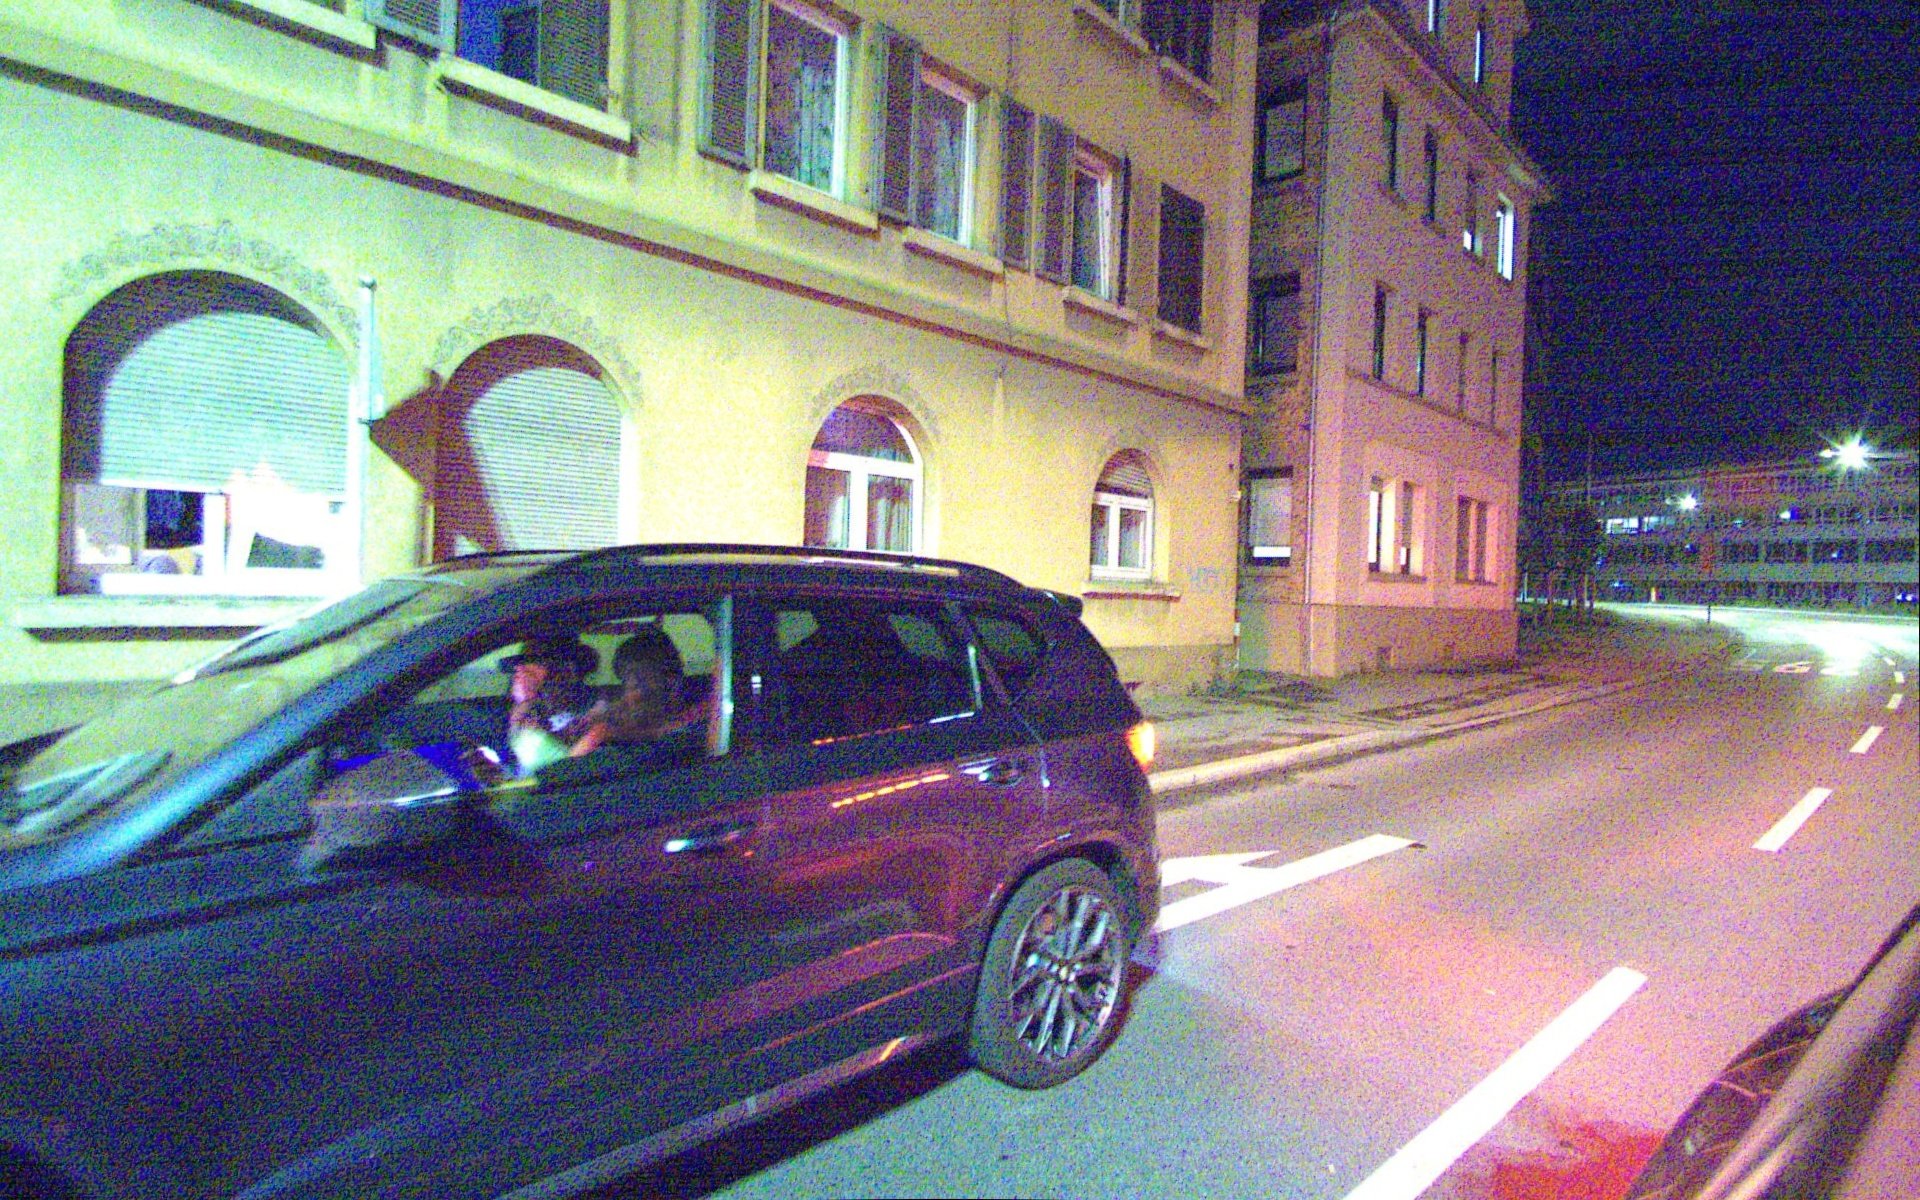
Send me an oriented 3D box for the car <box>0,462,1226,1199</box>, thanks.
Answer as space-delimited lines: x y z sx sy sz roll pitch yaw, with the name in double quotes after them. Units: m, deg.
-1.109 0.586 2.804 4.160 1.630 1.671 -2 2 -44 "car"
